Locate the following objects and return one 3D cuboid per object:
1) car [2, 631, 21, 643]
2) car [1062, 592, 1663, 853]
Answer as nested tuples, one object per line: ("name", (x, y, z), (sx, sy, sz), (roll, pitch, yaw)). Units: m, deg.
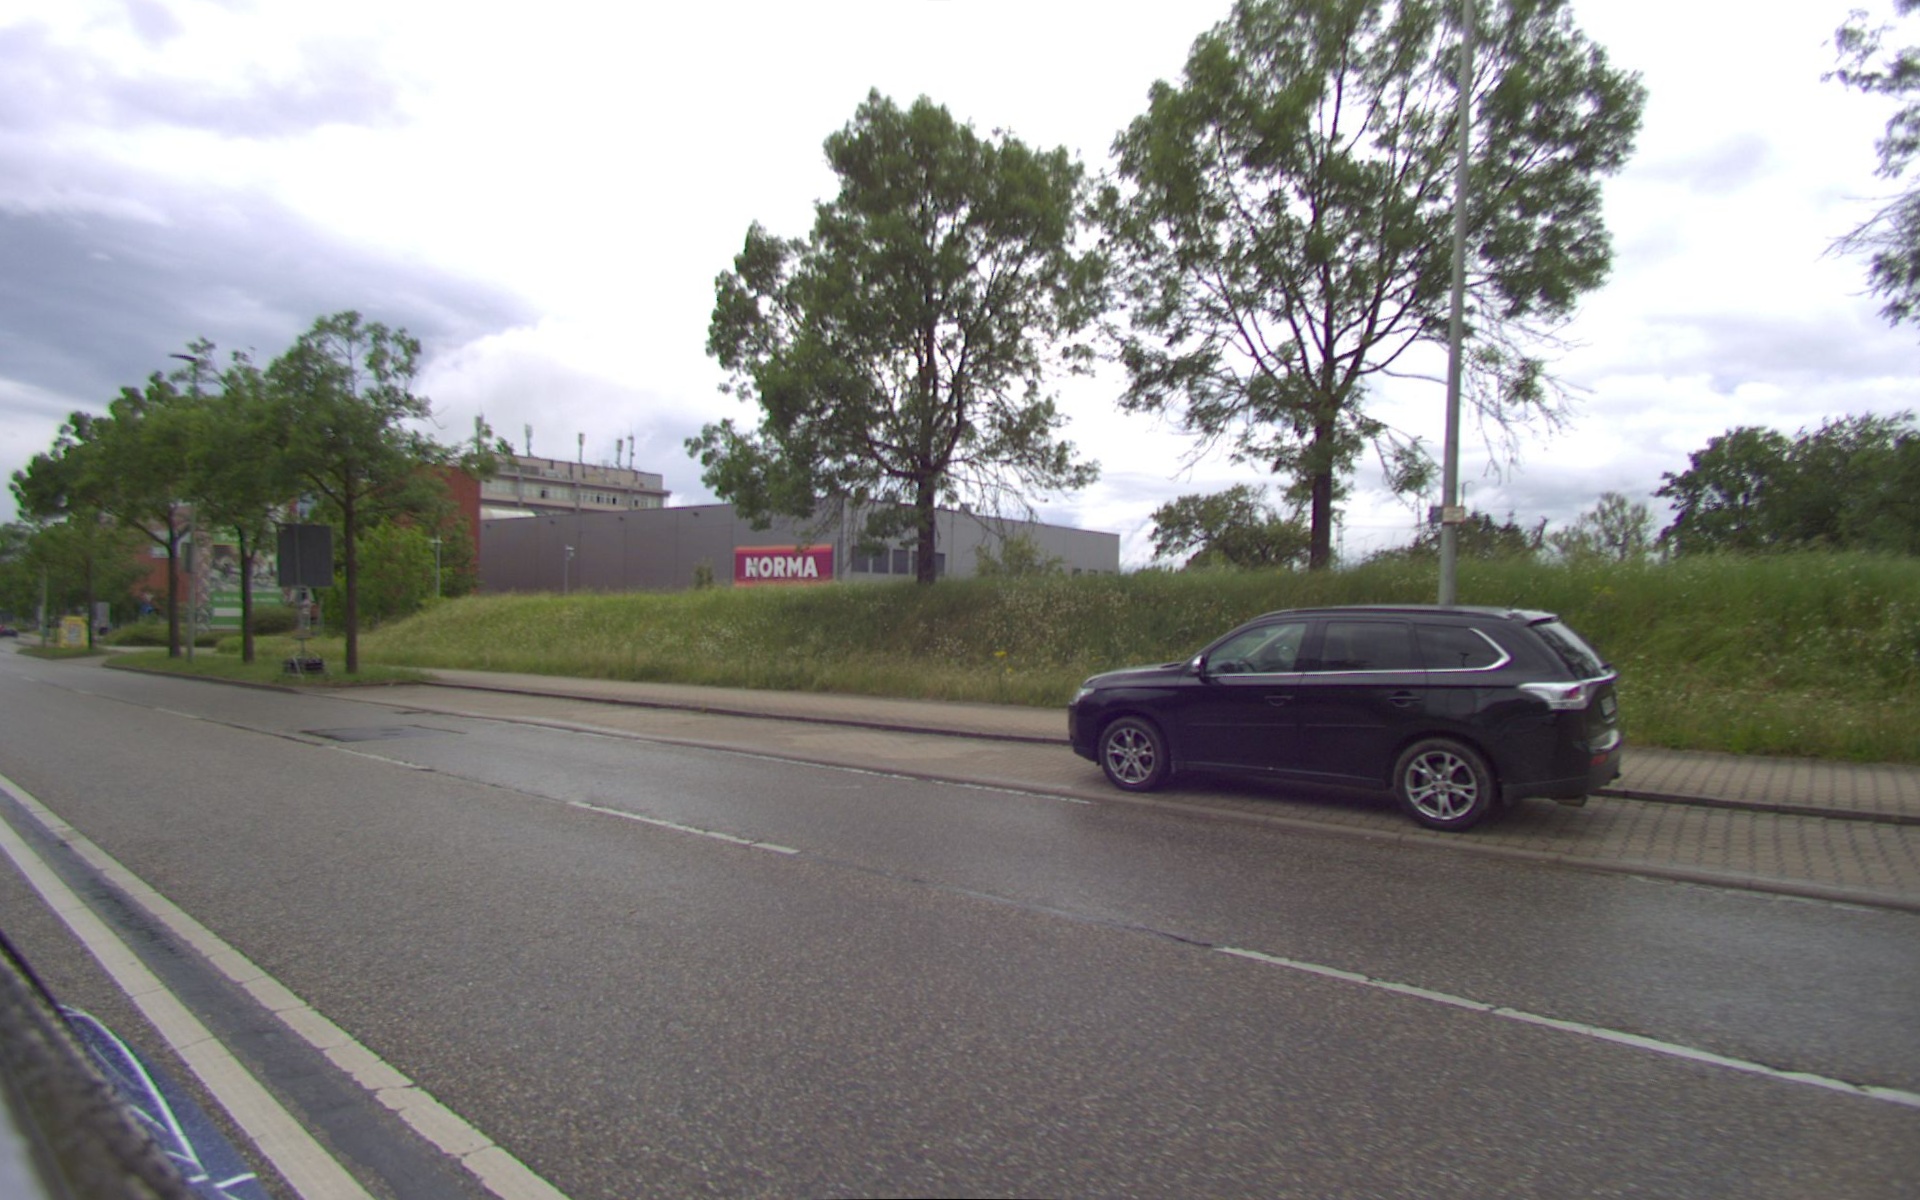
("car", (-120.203, 4.715, 128.218), (1.716, 1.465, 4.003), (3, -3, -44))
("car", (3.221, 0.833, 8.714), (4.485, 1.681, 1.708), (-1, 0, 41))
